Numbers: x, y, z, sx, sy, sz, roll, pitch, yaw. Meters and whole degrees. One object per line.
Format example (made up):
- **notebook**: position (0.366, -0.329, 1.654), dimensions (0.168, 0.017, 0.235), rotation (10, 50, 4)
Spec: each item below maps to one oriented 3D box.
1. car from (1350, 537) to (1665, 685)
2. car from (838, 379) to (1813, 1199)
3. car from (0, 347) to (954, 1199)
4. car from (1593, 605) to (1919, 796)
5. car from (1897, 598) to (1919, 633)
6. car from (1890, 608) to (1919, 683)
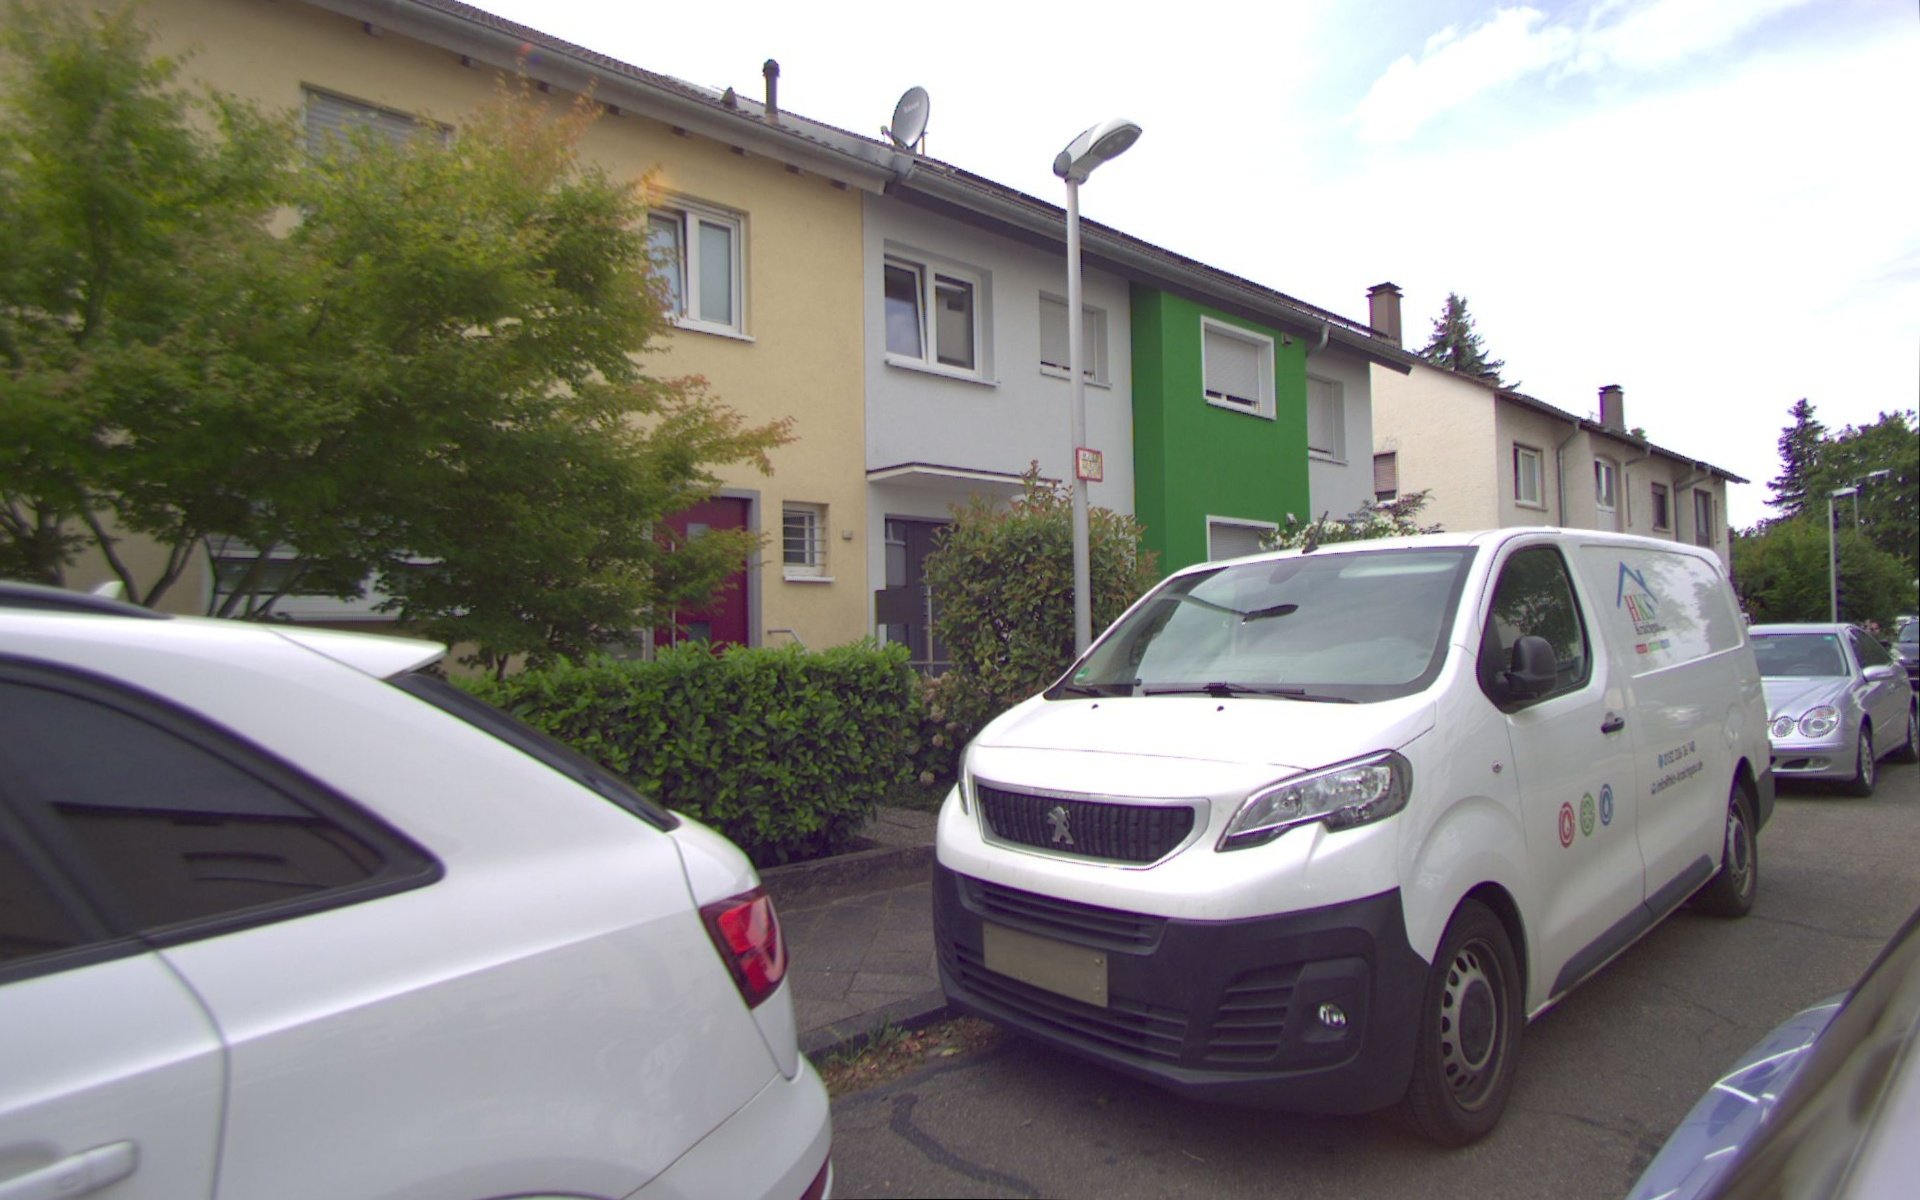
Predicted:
- **car**: position (10.768, 0.216, 20.282), dimensions (2.198, 2.575, 5.097), rotation (0, -1, -40)
- **car**: position (2.139, 0.548, 4.662), dimensions (5.162, 1.990, 1.905), rotation (0, -4, -42)
- **car**: position (-2.113, 0.668, 0.780), dimensions (4.093, 1.657, 1.825), rotation (0, -4, -44)
- **car**: position (8.027, 0.823, 9.862), dimensions (4.375, 1.439, 1.786), rotation (0, -3, -39)
- **car**: position (45.241, 0.677, 47.388), dimensions (3.934, 1.485, 1.702), rotation (-2, -1, -44)
- **car**: position (20.831, 0.869, 21.042), dimensions (4.119, 1.477, 1.830), rotation (0, -3, -43)
